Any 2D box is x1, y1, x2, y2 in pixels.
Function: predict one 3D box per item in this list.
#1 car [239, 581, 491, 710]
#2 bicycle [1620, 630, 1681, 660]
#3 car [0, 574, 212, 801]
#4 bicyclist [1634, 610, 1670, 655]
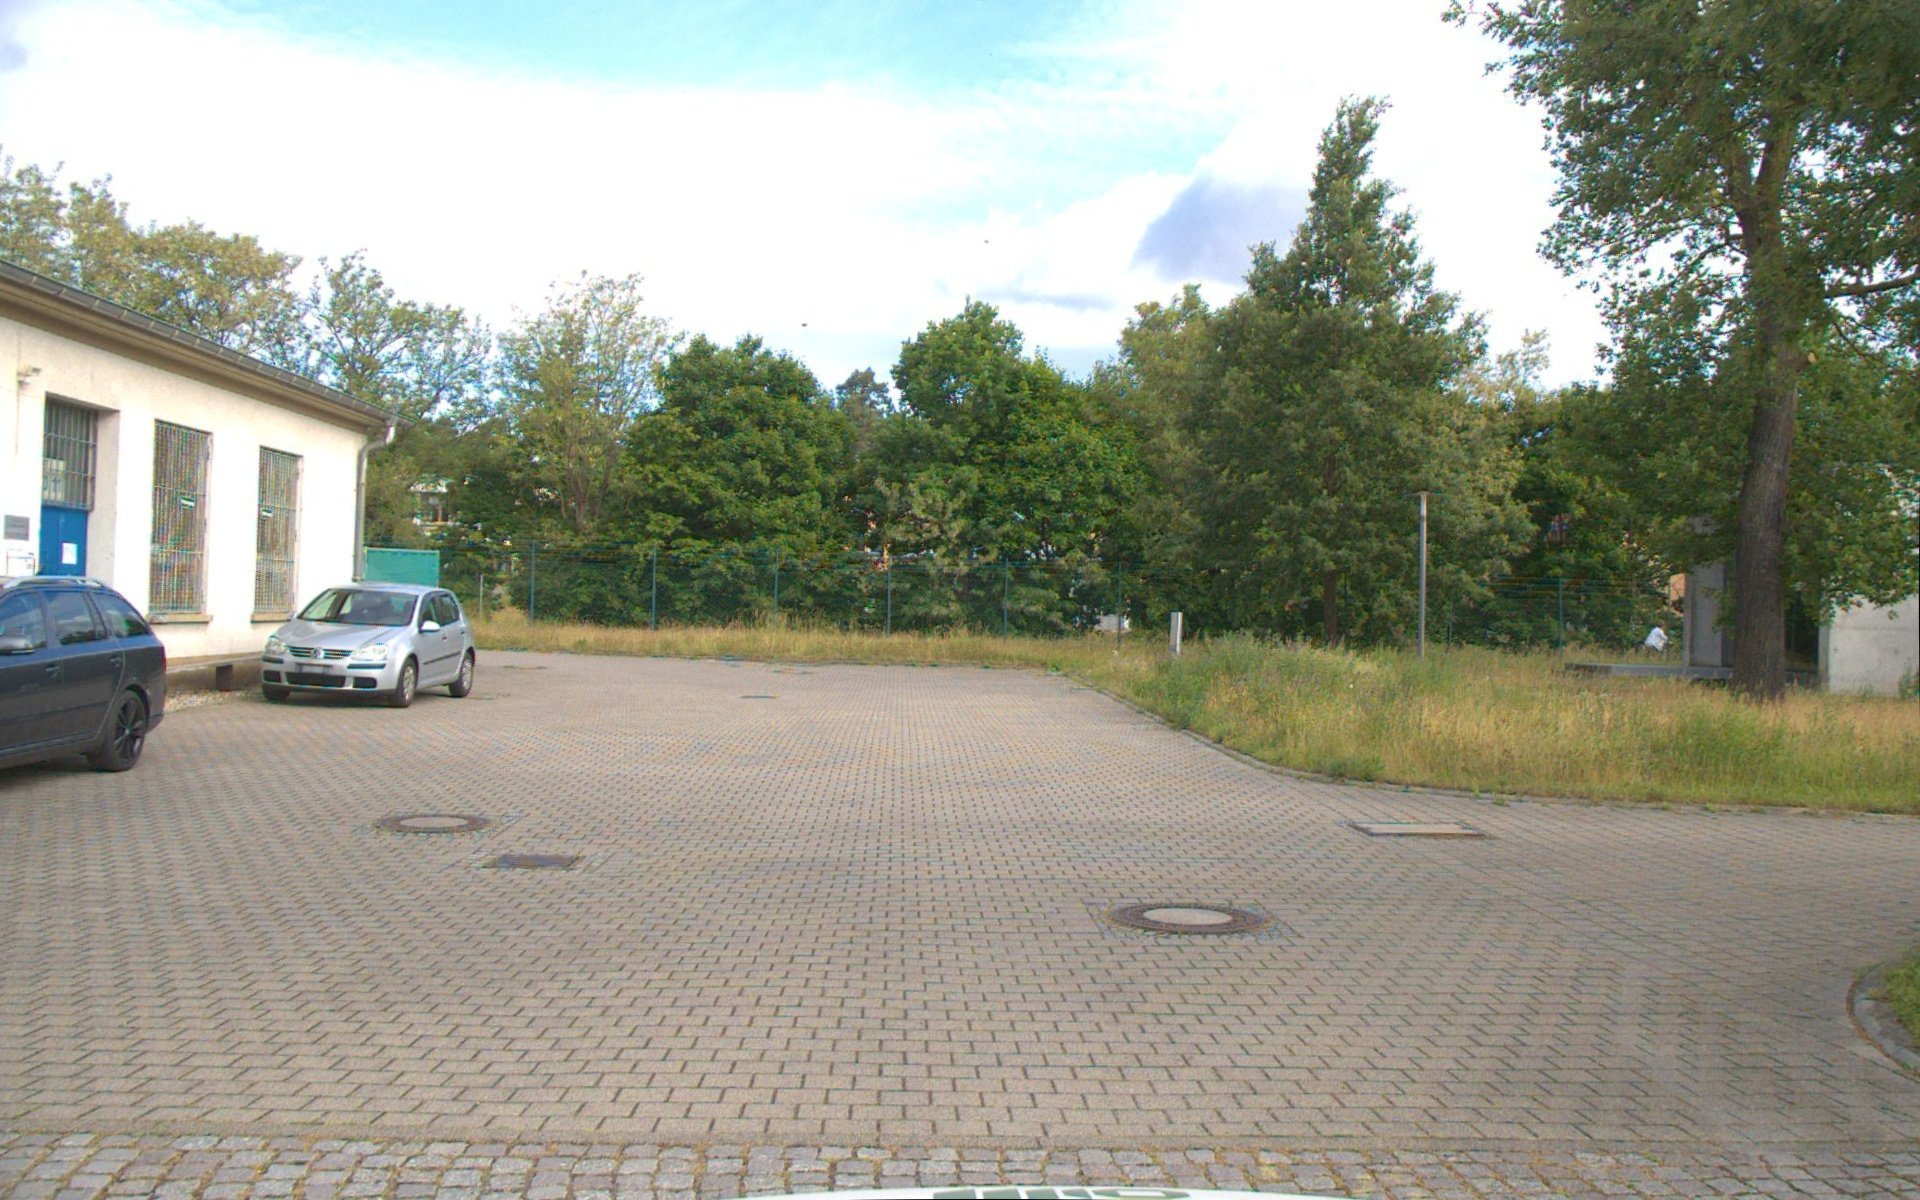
[{"bbox_3d":[-7.580,0.535,21.545,1.886,1.464,4.365,2,0,-3],"label":"car"},{"bbox_3d":[19.646,1.286,47.062,1.486,0.805,0.588,2,0,-3],"label":"bicycle"},{"bbox_3d":[-7.249,0.547,11.732,1.886,1.486,4.808,2,0,-3],"label":"car"},{"bbox_3d":[19.707,0.924,47.089,0.754,1.228,0.588,2,0,-2],"label":"bicyclist"}]
